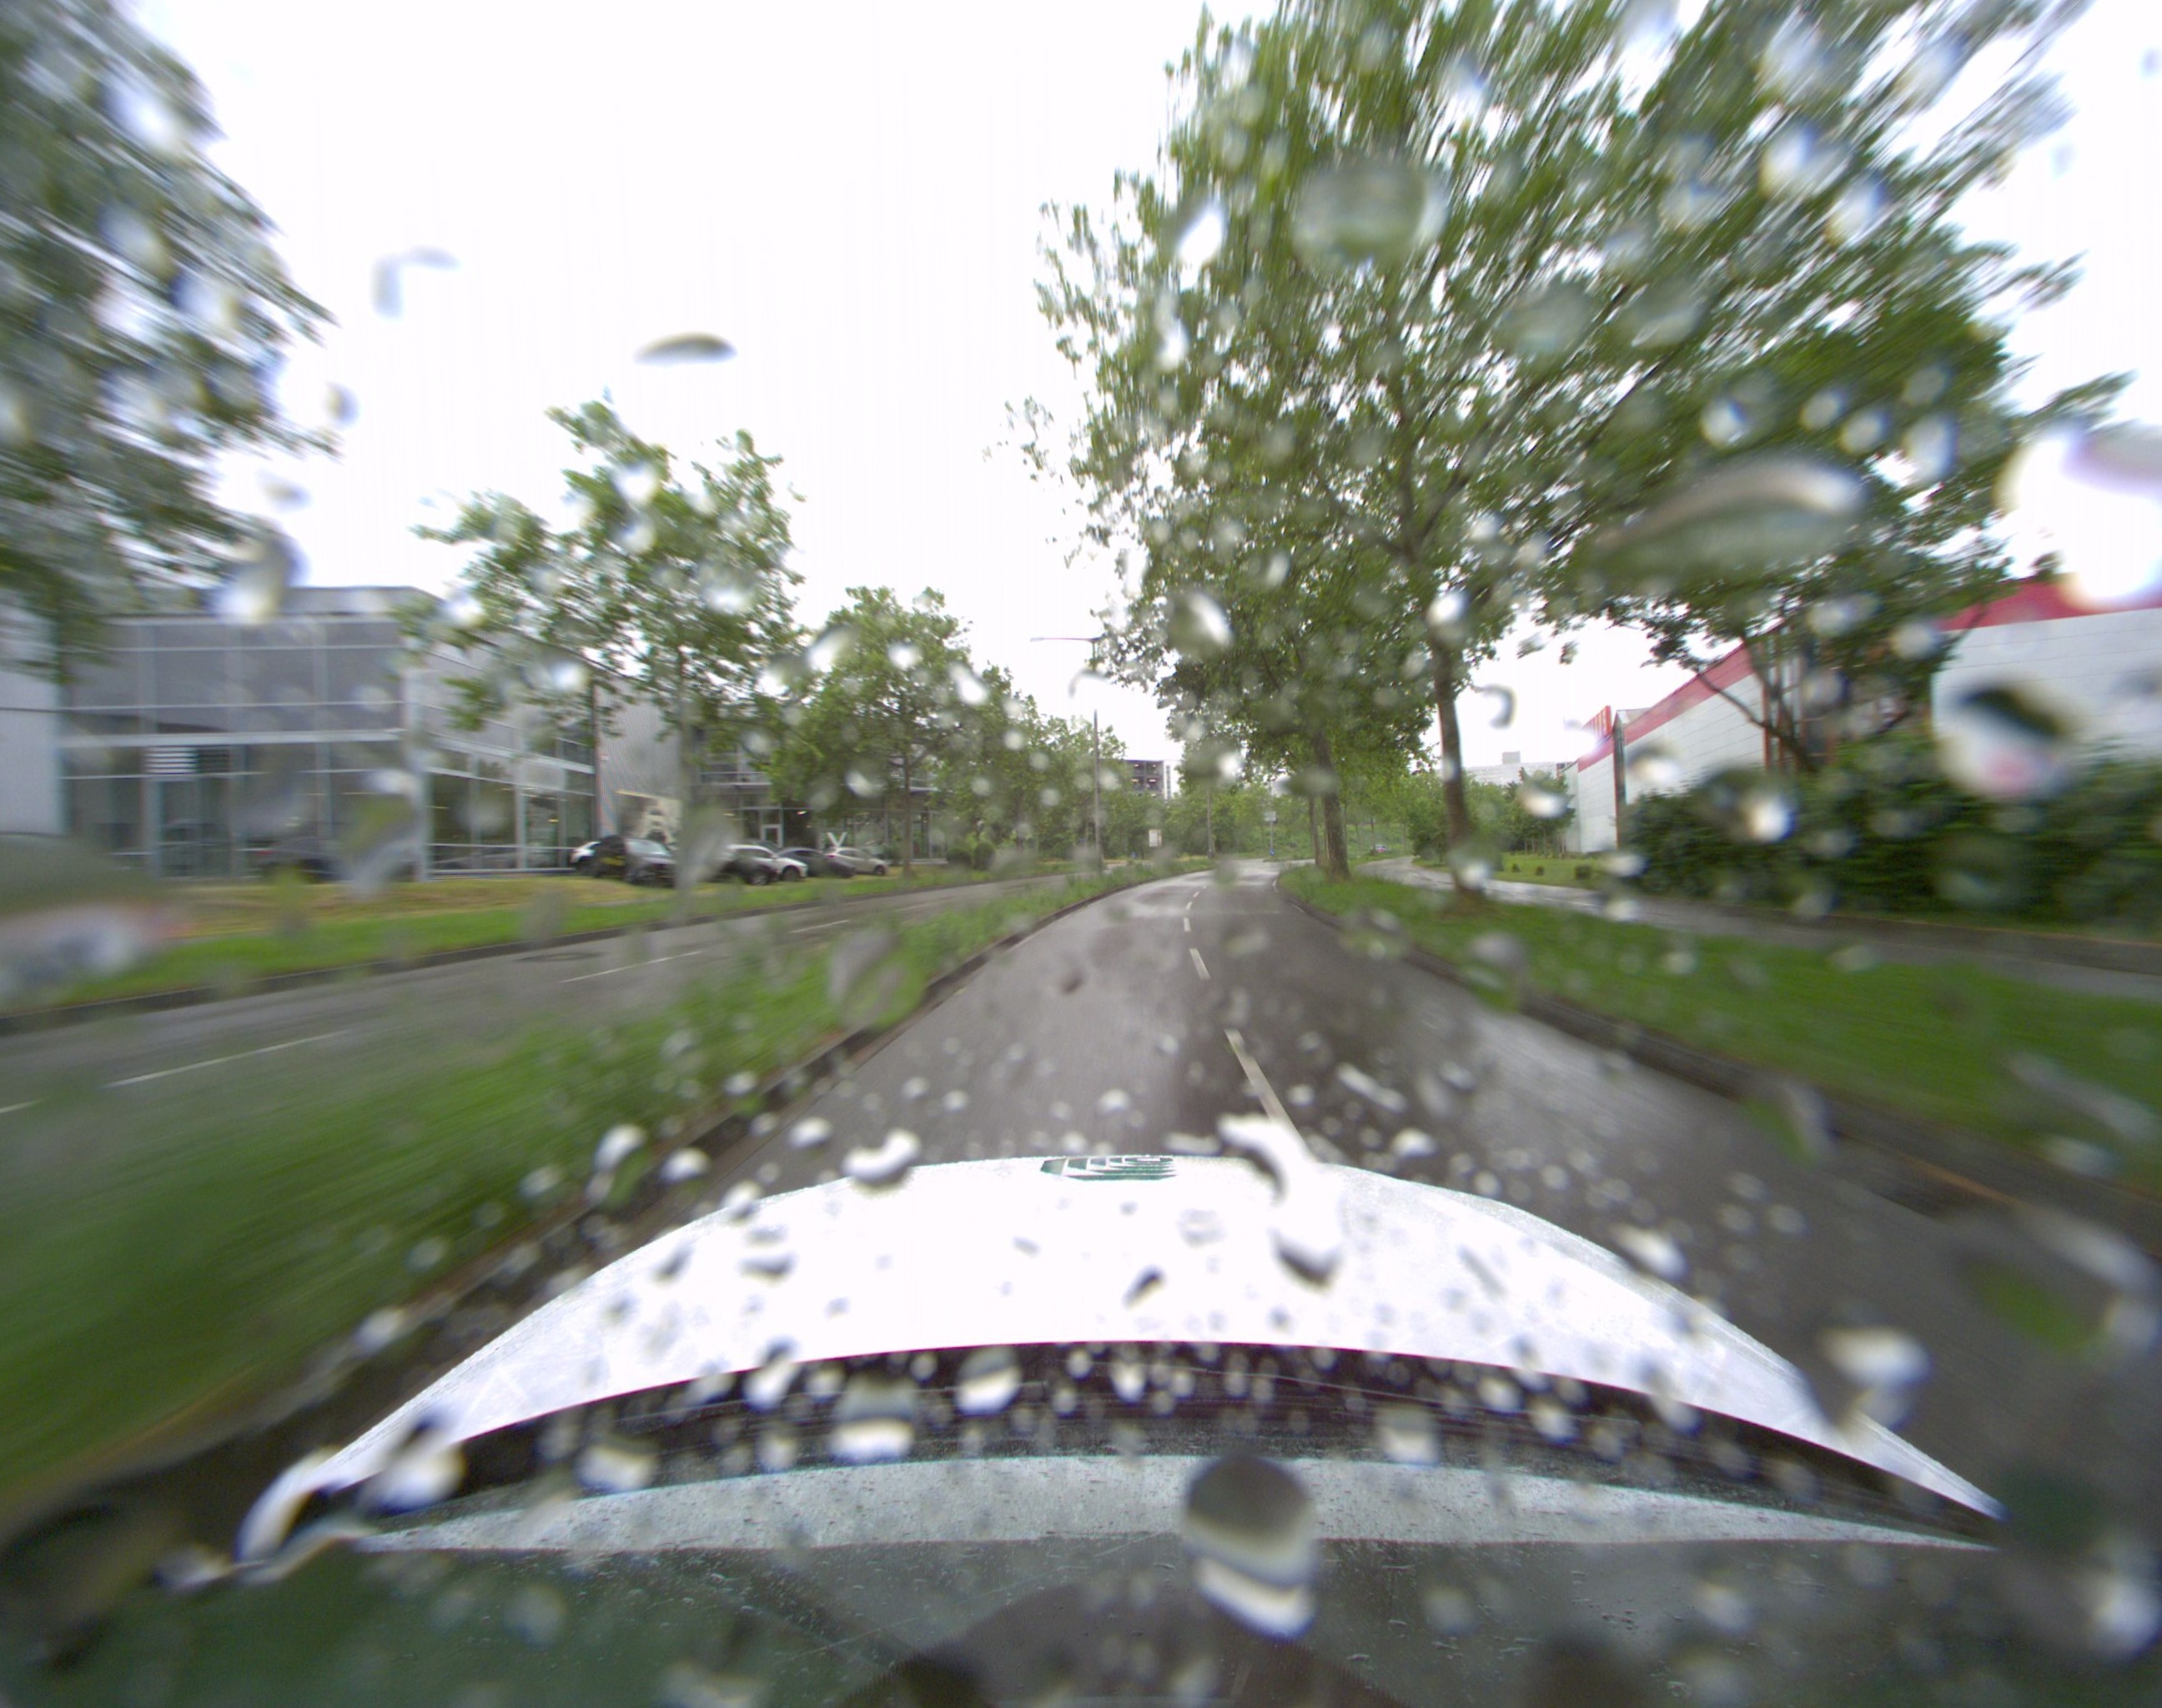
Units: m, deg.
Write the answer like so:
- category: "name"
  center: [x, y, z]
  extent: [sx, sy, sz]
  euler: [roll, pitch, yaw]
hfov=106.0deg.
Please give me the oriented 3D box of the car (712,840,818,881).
- category: "car"
  center: [-14.641, 0.330, 37.798]
  extent: [4.147, 1.478, 1.828]
  euler: [5, 2, -36]

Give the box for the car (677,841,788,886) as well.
- category: "car"
  center: [-14.911, 0.405, 34.856]
  extent: [4.139, 1.478, 1.832]
  euler: [5, 2, -28]

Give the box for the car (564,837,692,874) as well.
- category: "car"
  center: [-19.611, 0.052, 35.388]
  extent: [4.406, 1.473, 1.920]
  euler: [-1, 0, 1]

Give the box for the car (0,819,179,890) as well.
- category: "car"
  center: [-22.438, -0.033, 17.580]
  extent: [3.979, 1.357, 1.849]
  euler: [2, 1, 3]

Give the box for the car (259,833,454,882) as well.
- category: "car"
  center: [-21.837, 0.107, 24.736]
  extent: [4.002, 1.357, 1.838]
  euler: [1, 1, -15]

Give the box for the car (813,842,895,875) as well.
- category: "car"
  center: [-12.765, 0.279, 45.934]
  extent: [4.020, 1.475, 1.764]
  euler: [5, 2, -41]

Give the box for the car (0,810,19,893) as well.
- category: "car"
  center: [-22.247, -0.088, 14.661]
  extent: [3.979, 1.557, 1.849]
  euler: [2, 1, 3]

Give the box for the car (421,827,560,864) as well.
- category: "car"
  center: [-25.174, -0.354, 34.872]
  extent: [4.416, 1.473, 1.916]
  euler: [-1, 0, -6]

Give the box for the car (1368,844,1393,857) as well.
- category: "car"
  center: [39.249, -0.478, 106.679]
  extent: [1.762, 1.555, 4.025]
  euler: [0, 2, 41]

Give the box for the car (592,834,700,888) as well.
- category: "car"
  center: [-16.667, 0.252, 31.116]
  extent: [4.381, 1.556, 1.859]
  euler: [7, 2, 37]

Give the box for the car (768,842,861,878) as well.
- category: "car"
  center: [-13.634, 0.330, 41.699]
  extent: [4.144, 1.422, 1.830]
  euler: [5, 2, -33]

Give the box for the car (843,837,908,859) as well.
- category: "car"
  center: [-14.372, -0.457, 57.074]
  extent: [1.762, 1.476, 4.138]
  euler: [-1, 0, 40]
